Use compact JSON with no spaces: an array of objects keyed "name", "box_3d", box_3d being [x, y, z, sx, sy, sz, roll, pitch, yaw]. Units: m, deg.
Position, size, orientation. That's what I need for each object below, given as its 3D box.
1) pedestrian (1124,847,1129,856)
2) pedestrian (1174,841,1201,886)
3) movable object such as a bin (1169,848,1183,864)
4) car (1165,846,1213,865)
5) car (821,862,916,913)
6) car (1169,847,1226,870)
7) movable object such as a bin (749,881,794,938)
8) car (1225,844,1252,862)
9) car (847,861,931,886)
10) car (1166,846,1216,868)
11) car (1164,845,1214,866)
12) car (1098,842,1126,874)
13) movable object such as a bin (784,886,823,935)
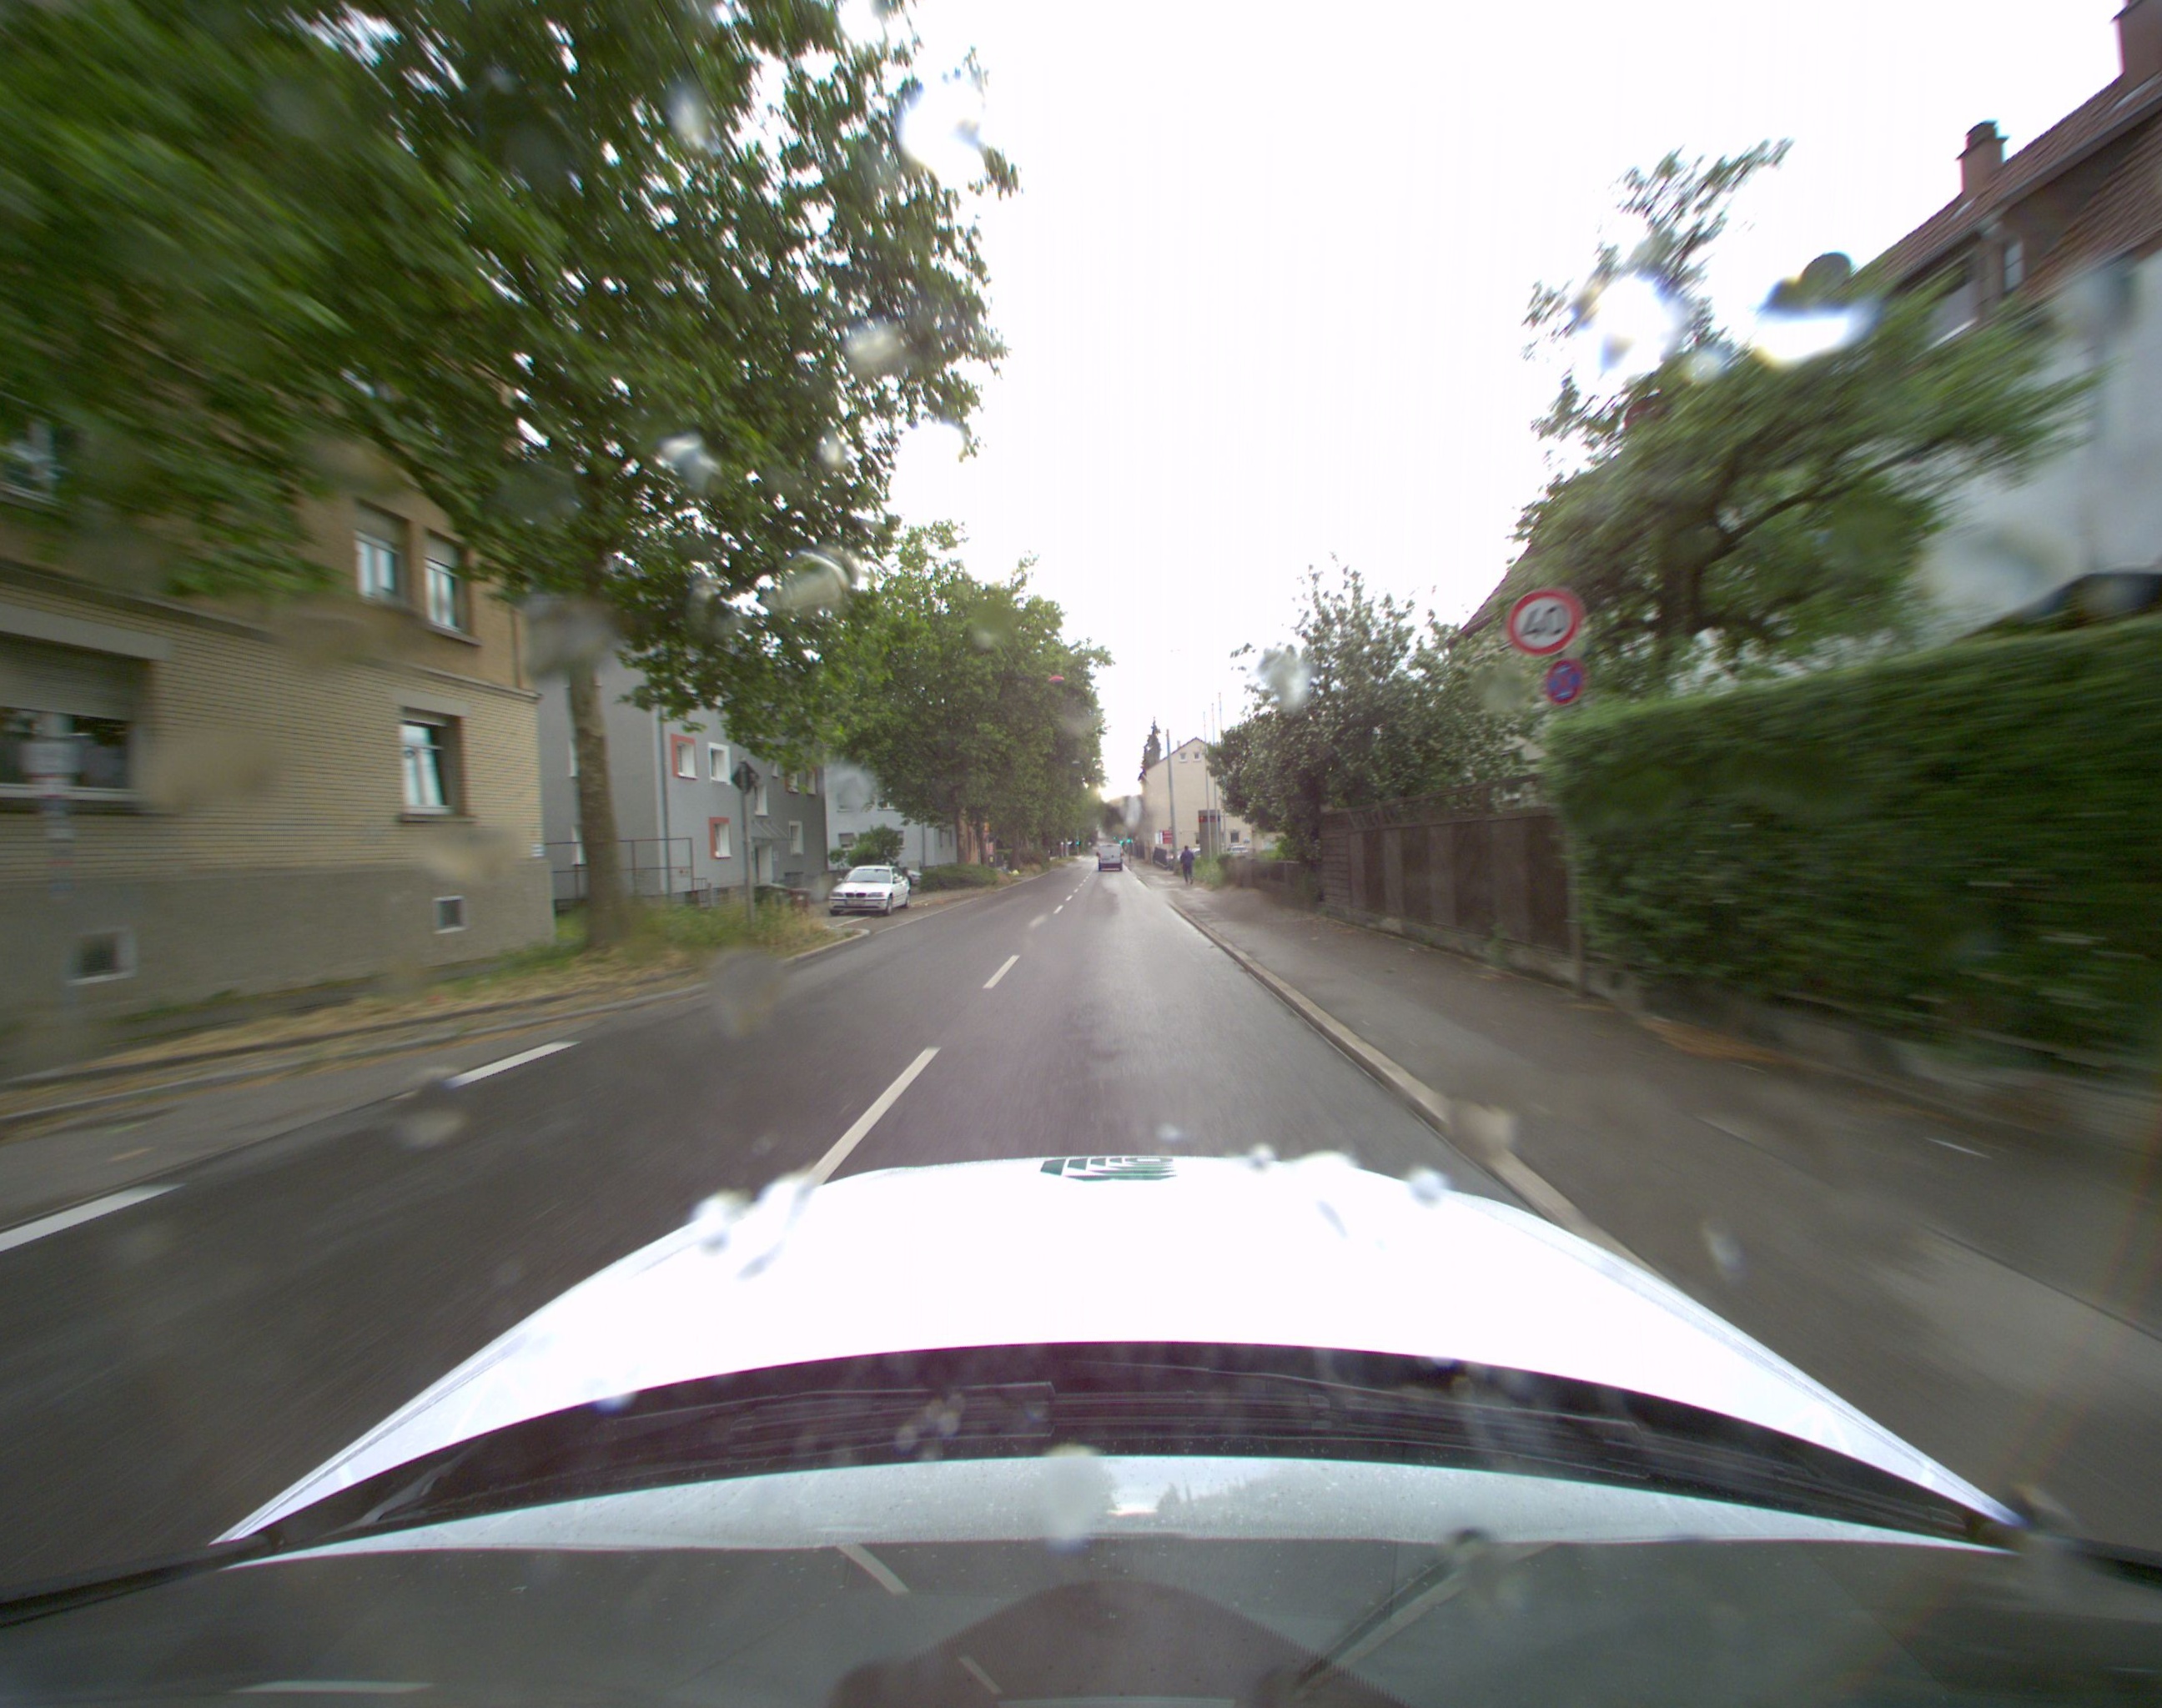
[{"name":"pedestrian","box_3d":[8.944,-0.528,160.024,0.741,1.704,0.900,0,-1,-4]},{"name":"pedestrian","box_3d":[4.649,0.416,35.594,1.039,1.897,0.901,-2,-1,2]},{"name":"movable object such as a bin","box_3d":[9.680,0.170,82.744,1.229,1.509,1.111,-4,-1,1]},{"name":"car","box_3d":[9.825,0.151,74.421,4.213,1.736,1.870,-1,-1,1]},{"name":"car","box_3d":[-6.302,0.942,24.666,1.750,1.326,4.536,-1,0,-1]},{"name":"car","box_3d":[9.153,0.360,64.245,4.286,1.768,2.000,-1,-1,1]},{"name":"movable object such as a bin","box_3d":[-6.149,1.094,16.181,0.532,1.057,0.762,-3,-1,2]},{"name":"car","box_3d":[14.181,-0.052,73.498,1.801,1.530,3.628,-1,-1,1]},{"name":"car","box_3d":[-11.663,1.181,49.718,4.645,1.477,1.870,-1,-1,1]},{"name":"car","box_3d":[8.993,0.246,66.728,3.934,1.724,1.792,-1,0,1]},{"name":"car","box_3d":[9.551,0.136,71.959,4.213,1.736,1.870,-1,-1,1]},{"name":"car","box_3d":[2.657,0.343,69.643,2.274,2.553,4.002,-2,-1,2]},{"name":"movable object such as a bin","box_3d":[-5.528,1.115,16.256,0.510,0.927,0.581,-3,-1,1]}]
